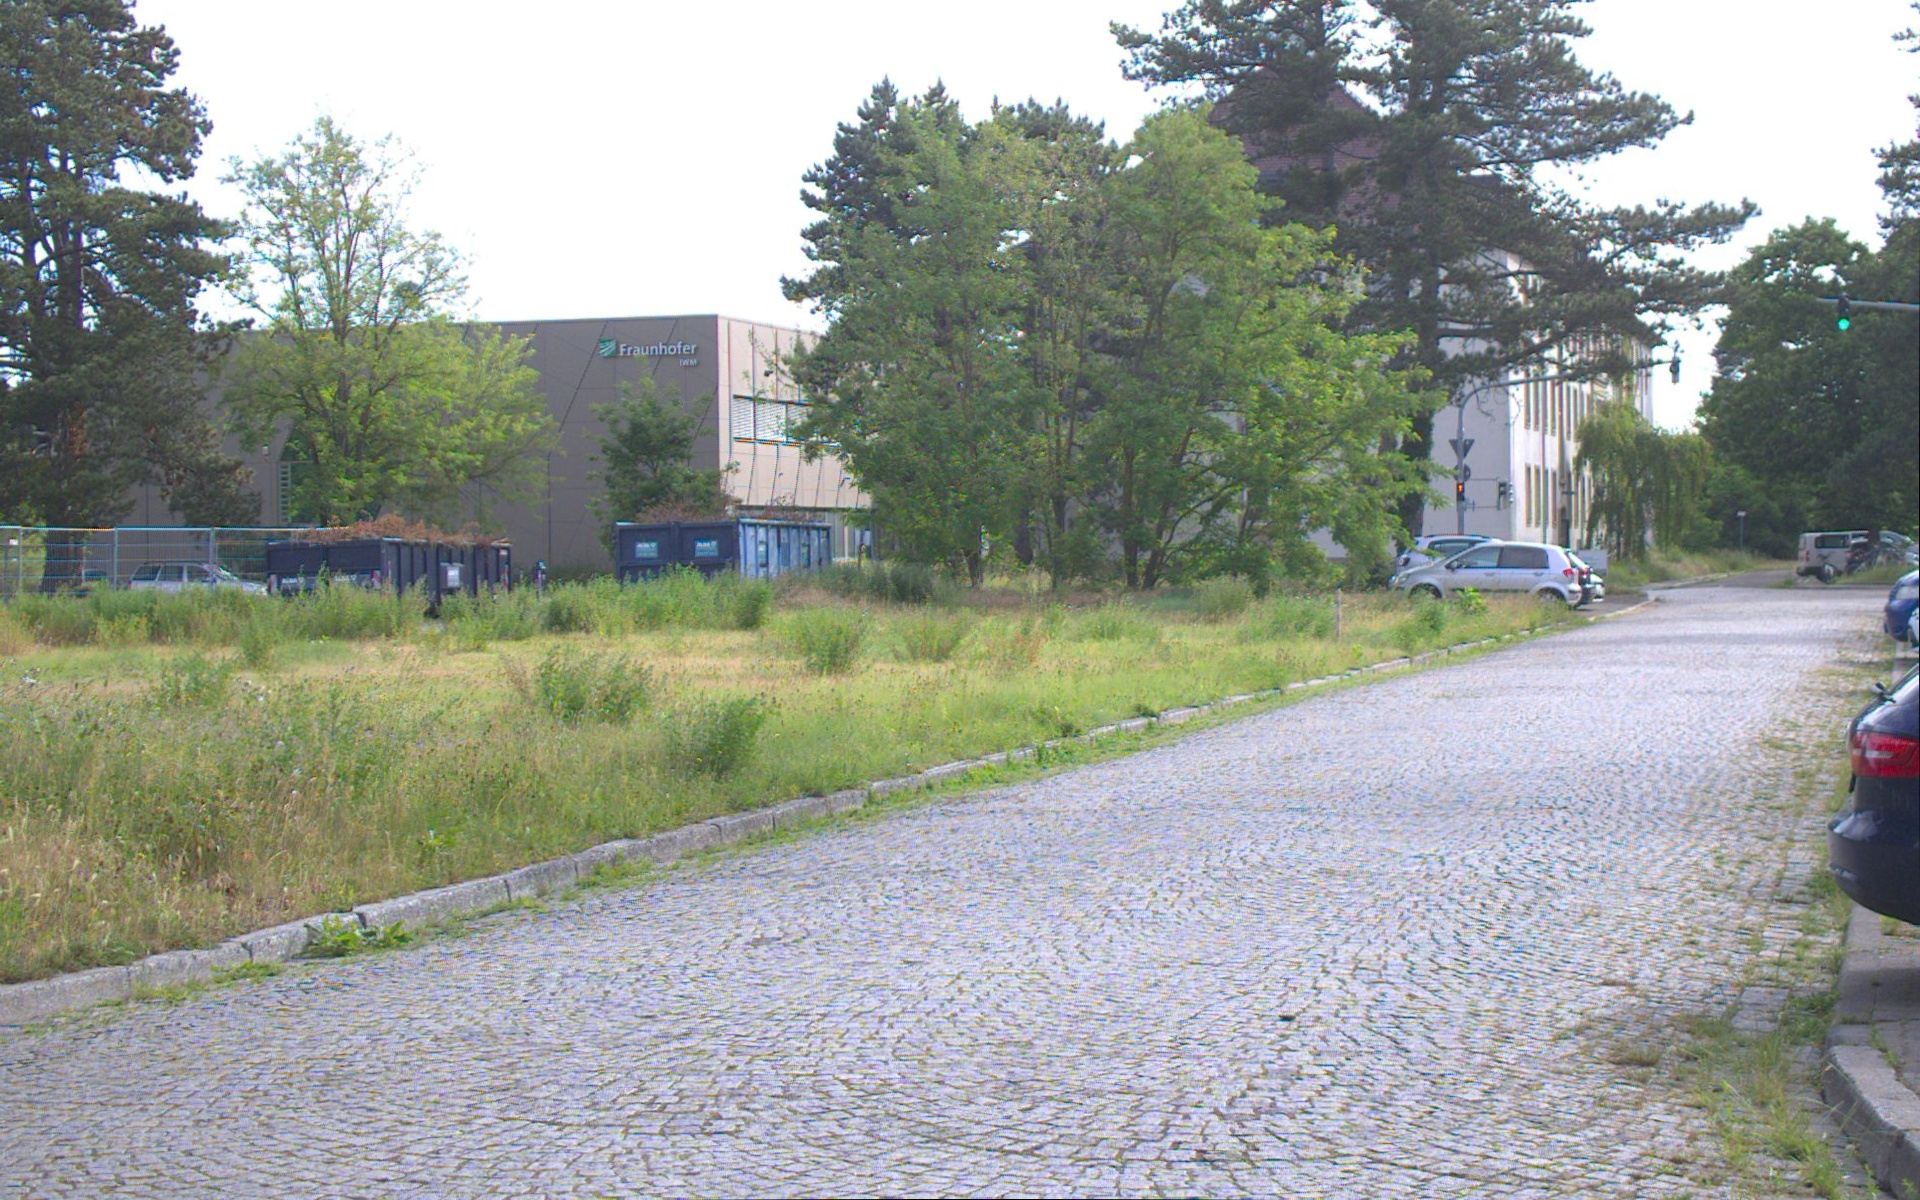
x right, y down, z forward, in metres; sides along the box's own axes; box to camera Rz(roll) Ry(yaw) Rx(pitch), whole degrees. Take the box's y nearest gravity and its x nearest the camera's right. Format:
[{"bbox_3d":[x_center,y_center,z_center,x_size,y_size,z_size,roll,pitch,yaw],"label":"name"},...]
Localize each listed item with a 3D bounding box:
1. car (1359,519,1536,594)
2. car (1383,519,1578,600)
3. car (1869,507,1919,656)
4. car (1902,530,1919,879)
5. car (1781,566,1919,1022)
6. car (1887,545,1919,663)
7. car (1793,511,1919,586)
[{"bbox_3d":[10.583,-0.944,74.683,3.721,1.433,1.626,-3,1,8],"label":"car"},{"bbox_3d":[10.494,-0.829,69.219,3.721,1.433,1.626,-2,1,12],"label":"car"},{"bbox_3d":[14.341,-0.376,44.538,4.823,1.859,2.160,-3,1,14],"label":"car"},{"bbox_3d":[6.558,0.430,16.019,4.141,1.567,1.789,-1,2,15],"label":"car"},{"bbox_3d":[5.084,0.592,11.377,4.435,1.475,1.680,-1,0,19],"label":"car"},{"bbox_3d":[13.509,-0.059,42.349,3.922,1.388,1.742,-3,1,14],"label":"car"},{"bbox_3d":[35.293,-2.026,132.846,5.783,2.553,2.769,-3,1,11],"label":"car"}]
